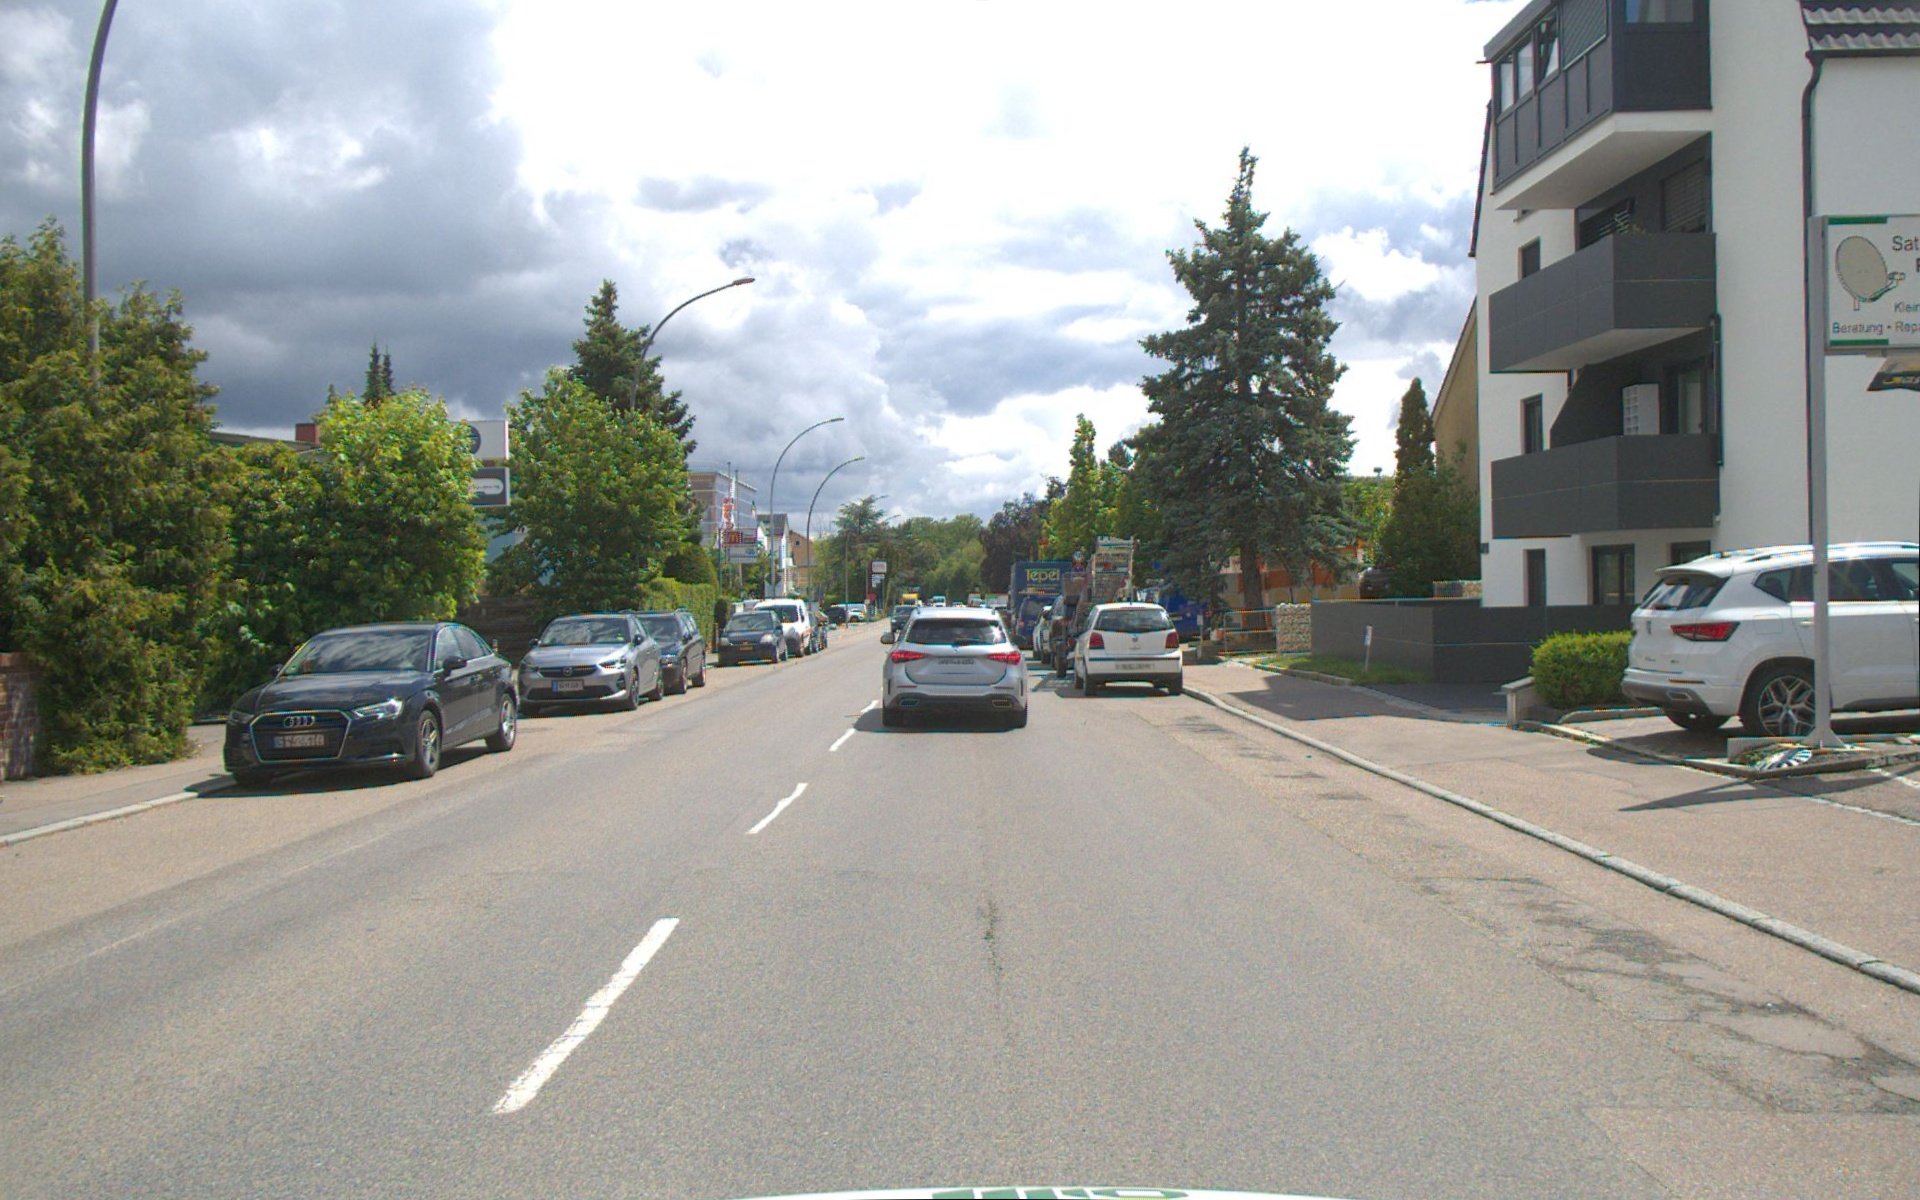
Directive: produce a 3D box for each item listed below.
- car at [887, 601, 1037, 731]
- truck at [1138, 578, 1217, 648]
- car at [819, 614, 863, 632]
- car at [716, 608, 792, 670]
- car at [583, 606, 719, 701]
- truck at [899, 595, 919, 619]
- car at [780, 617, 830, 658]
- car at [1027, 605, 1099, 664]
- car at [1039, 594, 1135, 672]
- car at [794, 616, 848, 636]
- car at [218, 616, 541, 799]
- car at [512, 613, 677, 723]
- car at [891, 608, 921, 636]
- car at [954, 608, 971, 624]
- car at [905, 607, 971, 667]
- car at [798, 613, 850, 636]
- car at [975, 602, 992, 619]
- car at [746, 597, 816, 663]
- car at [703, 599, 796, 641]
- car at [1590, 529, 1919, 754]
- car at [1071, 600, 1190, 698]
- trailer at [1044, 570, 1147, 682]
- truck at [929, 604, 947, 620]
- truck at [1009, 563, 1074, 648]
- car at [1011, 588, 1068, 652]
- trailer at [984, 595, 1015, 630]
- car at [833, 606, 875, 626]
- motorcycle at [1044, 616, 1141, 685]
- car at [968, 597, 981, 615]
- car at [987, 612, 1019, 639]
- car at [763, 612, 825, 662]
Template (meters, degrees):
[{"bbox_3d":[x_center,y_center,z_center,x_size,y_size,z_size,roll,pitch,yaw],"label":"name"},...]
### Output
[{"bbox_3d":[-0.037,0.773,21.511,1.748,1.510,4.315,0,0,-2],"label":"car"},{"bbox_3d":[7.474,0.391,57.341,1.792,2.117,5.385,-4,1,-1],"label":"truck"},{"bbox_3d":[-11.826,2.317,164.900,4.192,1.594,1.991,-2,-4,0],"label":"car"},{"bbox_3d":[-5.744,1.067,46.527,1.607,1.512,3.999,-4,0,-1],"label":"car"},{"bbox_3d":[-5.577,0.913,30.381,1.685,1.519,4.734,-2,0,-2],"label":"car"},{"bbox_3d":[-6.435,0.845,209.242,2.032,2.863,7.078,-2,0,1],"label":"truck"},{"bbox_3d":[-5.833,1.395,62.599,1.598,1.326,4.115,-5,0,-2],"label":"car"},{"bbox_3d":[2.882,0.938,47.072,1.737,1.534,4.000,-2,0,0],"label":"car"},{"bbox_3d":[3.083,0.772,41.143,1.836,1.757,4.711,-2,0,-2],"label":"car"},{"bbox_3d":[-10.791,2.022,128.599,4.067,1.518,1.824,1,0,-4],"label":"car"},{"bbox_3d":[-5.533,0.944,16.368,1.629,1.439,4.338,-3,0,0],"label":"car"},{"bbox_3d":[-5.582,0.988,25.756,1.685,1.457,4.198,-3,0,-2],"label":"car"},{"bbox_3d":[-3.300,1.317,102.275,1.708,1.656,4.355,-1,0,-1],"label":"car"},{"bbox_3d":[0.255,1.673,169.804,1.720,1.585,3.999,-1,0,-1],"label":"car"},{"bbox_3d":[-0.673,1.029,47.652,1.721,1.585,3.997,-1,0,-3],"label":"car"},{"bbox_3d":[-12.499,2.231,152.182,4.536,1.661,2.196,-5,0,-4],"label":"car"},{"bbox_3d":[2.991,1.332,210.979,2.100,2.019,5.261,-2,0,0],"label":"car"},{"bbox_3d":[-5.641,0.909,52.451,1.708,1.870,4.354,-4,0,-1],"label":"car"},{"bbox_3d":[-10.817,1.040,85.356,4.559,2.006,2.114,-2,0,-4],"label":"car"},{"bbox_3d":[8.059,0.259,14.703,4.108,1.682,1.867,-5,0,-1],"label":"car"},{"bbox_3d":[2.846,0.786,28.321,1.684,1.457,3.984,-3,0,2],"label":"car"},{"bbox_3d":[2.803,0.521,35.026,1.737,2.182,4.113,-2,0,-1],"label":"trailer"},{"bbox_3d":[-3.170,1.726,242.585,2.271,2.216,6.450,-2,0,2],"label":"truck"},{"bbox_3d":[3.122,0.208,64.575,2.273,3.151,6.042,0,0,0],"label":"truck"},{"bbox_3d":[2.787,0.690,58.959,1.835,2.207,4.464,0,0,0],"label":"car"},{"bbox_3d":[2.732,0.890,116.258,1.902,2.334,4.444,-2,-1,-1],"label":"trailer"},{"bbox_3d":[-10.922,1.633,170.134,4.193,1.868,1.990,-2,-4,-1],"label":"car"},{"bbox_3d":[2.535,0.948,31.614,1.802,1.231,0.708,-2,0,-36],"label":"motorcycle"},{"bbox_3d":[2.182,0.890,248.333,1.748,2.563,4.314,0,-1,-2],"label":"car"},{"bbox_3d":[2.741,1.603,104.887,1.901,1.599,4.446,-2,0,2],"label":"car"},{"bbox_3d":[-5.729,1.249,57.529,1.708,1.497,4.643,-4,0,-1],"label":"car"}]
